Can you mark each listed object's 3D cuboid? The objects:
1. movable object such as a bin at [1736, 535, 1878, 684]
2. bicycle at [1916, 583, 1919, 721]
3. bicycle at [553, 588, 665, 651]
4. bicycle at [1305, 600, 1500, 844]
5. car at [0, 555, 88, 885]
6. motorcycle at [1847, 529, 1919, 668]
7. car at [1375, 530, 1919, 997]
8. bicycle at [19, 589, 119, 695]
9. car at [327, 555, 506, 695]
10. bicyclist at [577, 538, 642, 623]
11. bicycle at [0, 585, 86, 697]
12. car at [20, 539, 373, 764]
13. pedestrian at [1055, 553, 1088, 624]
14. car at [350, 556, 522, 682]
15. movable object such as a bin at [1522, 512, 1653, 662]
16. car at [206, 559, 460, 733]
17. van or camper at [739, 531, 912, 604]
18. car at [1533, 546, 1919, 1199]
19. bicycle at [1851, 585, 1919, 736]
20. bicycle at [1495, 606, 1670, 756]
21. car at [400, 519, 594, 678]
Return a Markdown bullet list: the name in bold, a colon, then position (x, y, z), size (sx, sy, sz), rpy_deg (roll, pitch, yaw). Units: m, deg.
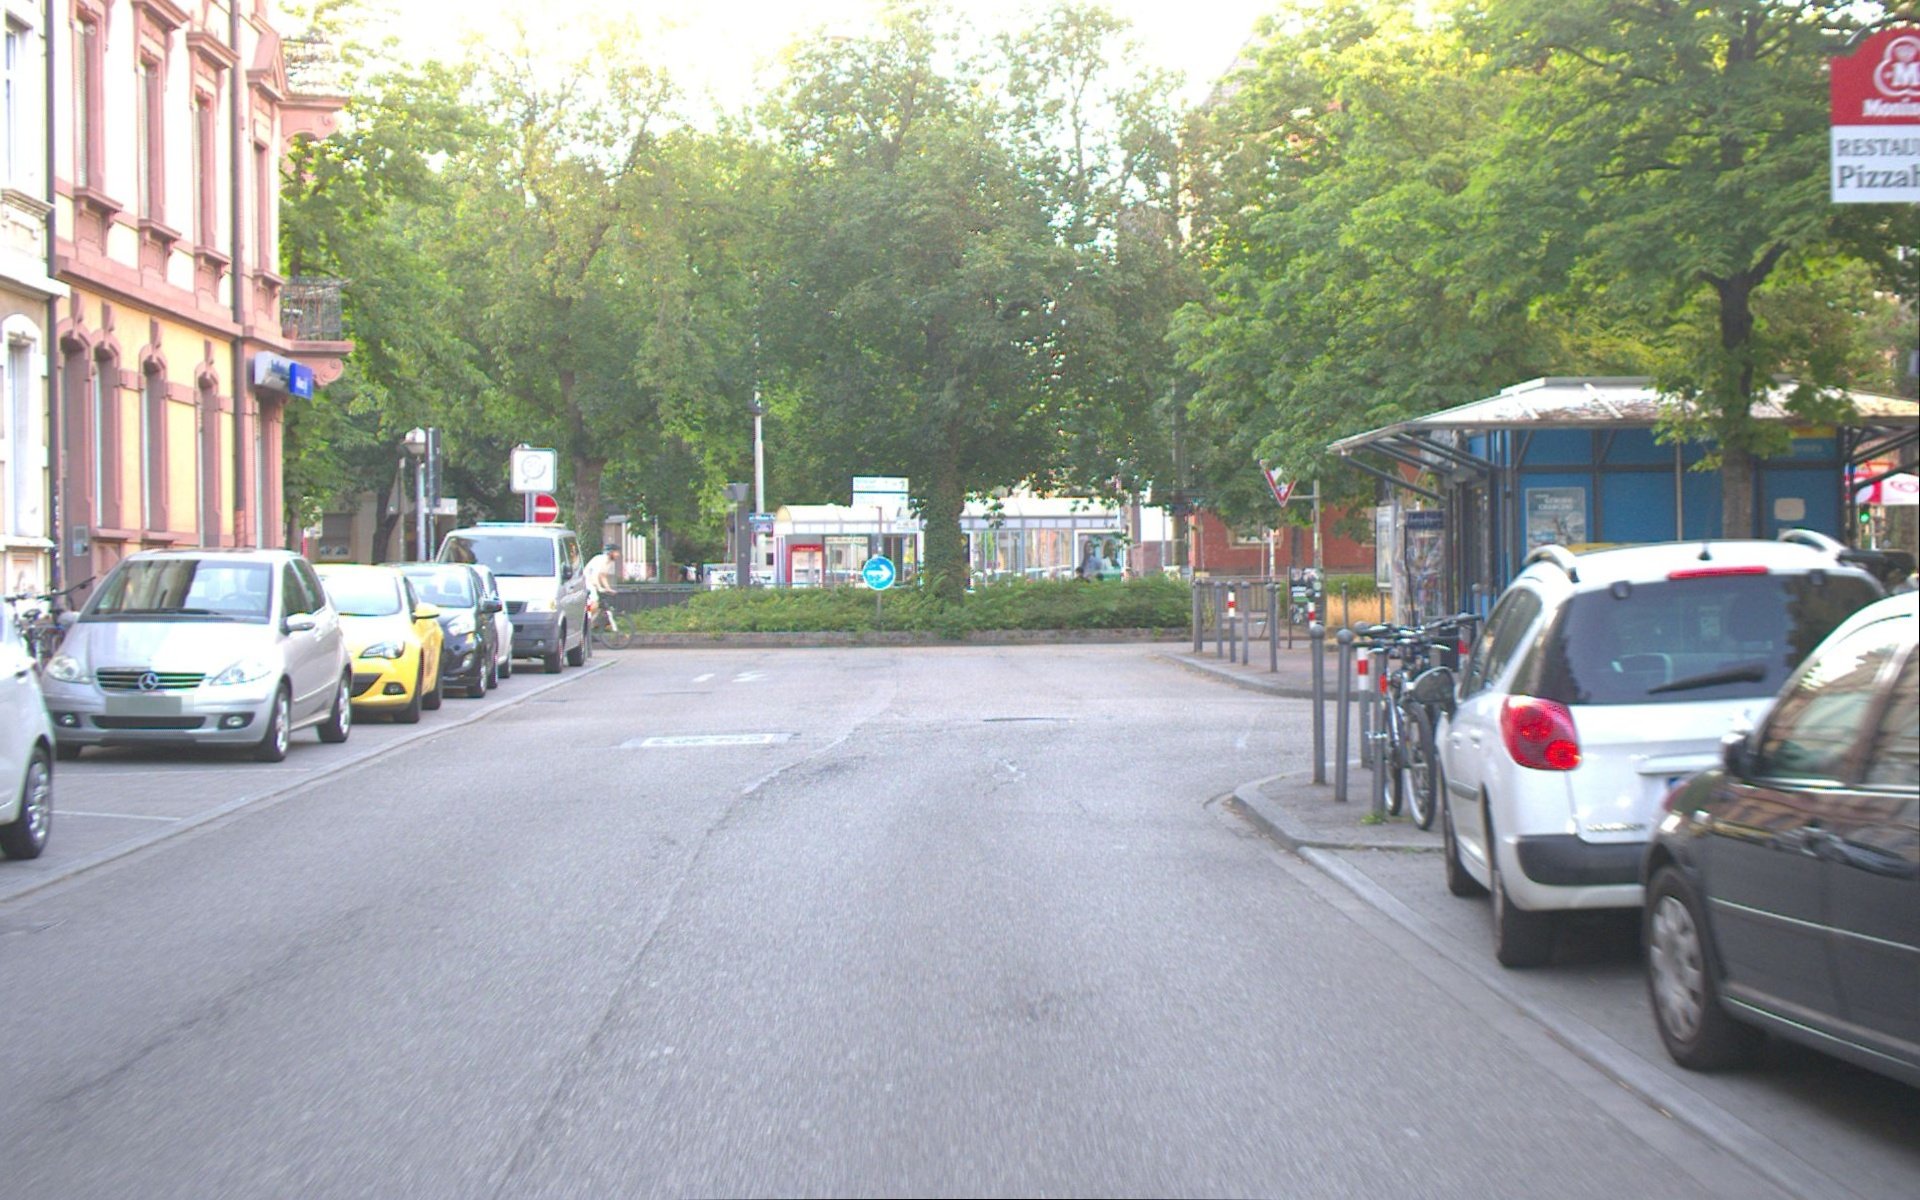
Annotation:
- **movable object such as a bin**: position (8.817, 0.091, 35.821), size (1.282, 1.470, 0.819), rpy_deg (3, 1, 8)
- **bicycle**: position (7.482, 0.410, 25.758), size (0.475, 1.066, 1.834), rpy_deg (-1, 1, 12)
- **bicycle**: position (-6.216, 0.345, 60.943), size (1.830, 1.066, 0.708), rpy_deg (-1, 1, 15)
- **bicycle**: position (2.332, 0.612, 18.332), size (0.684, 1.147, 2.115), rpy_deg (-4, 1, 0)
- **car**: position (-5.450, 0.562, 16.127), size (1.753, 1.570, 3.928), rpy_deg (1, 1, -1)
- **motorcycle**: position (10.196, -0.032, 36.854), size (0.867, 1.448, 1.882), rpy_deg (-1, 1, 0)
- **car**: position (2.757, 0.512, 13.842), size (1.764, 1.479, 4.463), rpy_deg (-4, 1, 3)
- **bicycle**: position (-9.379, 0.425, 36.245), size (0.661, 1.066, 1.835), rpy_deg (-1, 1, -3)
- **car**: position (-6.082, 0.250, 38.784), size (1.728, 1.486, 3.743), rpy_deg (1, 0, -5)
- **bicyclist**: position (-6.211, -0.347, 60.939), size (0.917, 1.497, 0.708), rpy_deg (-1, 1, 15)
- **bicycle**: position (-9.286, 0.398, 34.480), size (0.661, 1.066, 1.835), rpy_deg (-1, 1, -3)
- **car**: position (-5.866, 0.344, 26.885), size (1.800, 1.587, 4.145), rpy_deg (1, 1, 0)
- **pedestrian**: position (2.261, -0.241, 69.771), size (0.616, 1.426, 0.655), rpy_deg (-1, 1, 0)
- **car**: position (-6.469, 0.210, 42.752), size (1.684, 1.486, 3.614), rpy_deg (1, 0, -2)
- **movable object such as a bin**: position (6.534, -0.137, 35.857), size (1.222, 1.470, 0.765), rpy_deg (-4, 0, 8)
- **car**: position (-5.990, 0.383, 33.335), size (1.838, 1.520, 4.802), rpy_deg (1, 1, -3)
- **van or camper**: position (-5.898, -1.409, 149.640), size (7.364, 3.072, 2.674), rpy_deg (0, 0, -5)
- **car**: position (2.966, 0.611, 8.978), size (1.763, 1.479, 4.558), rpy_deg (-4, 1, -4)
- **bicycle**: position (6.943, 0.430, 25.553), size (0.512, 1.063, 1.834), rpy_deg (-1, 1, 12)
- **bicycle**: position (4.539, 0.575, 25.014), size (1.471, 1.036, 0.432), rpy_deg (-1, 0, -42)
- **car**: position (-6.330, -0.039, 47.568), size (2.040, 2.050, 5.005), rpy_deg (1, 0, -1)
